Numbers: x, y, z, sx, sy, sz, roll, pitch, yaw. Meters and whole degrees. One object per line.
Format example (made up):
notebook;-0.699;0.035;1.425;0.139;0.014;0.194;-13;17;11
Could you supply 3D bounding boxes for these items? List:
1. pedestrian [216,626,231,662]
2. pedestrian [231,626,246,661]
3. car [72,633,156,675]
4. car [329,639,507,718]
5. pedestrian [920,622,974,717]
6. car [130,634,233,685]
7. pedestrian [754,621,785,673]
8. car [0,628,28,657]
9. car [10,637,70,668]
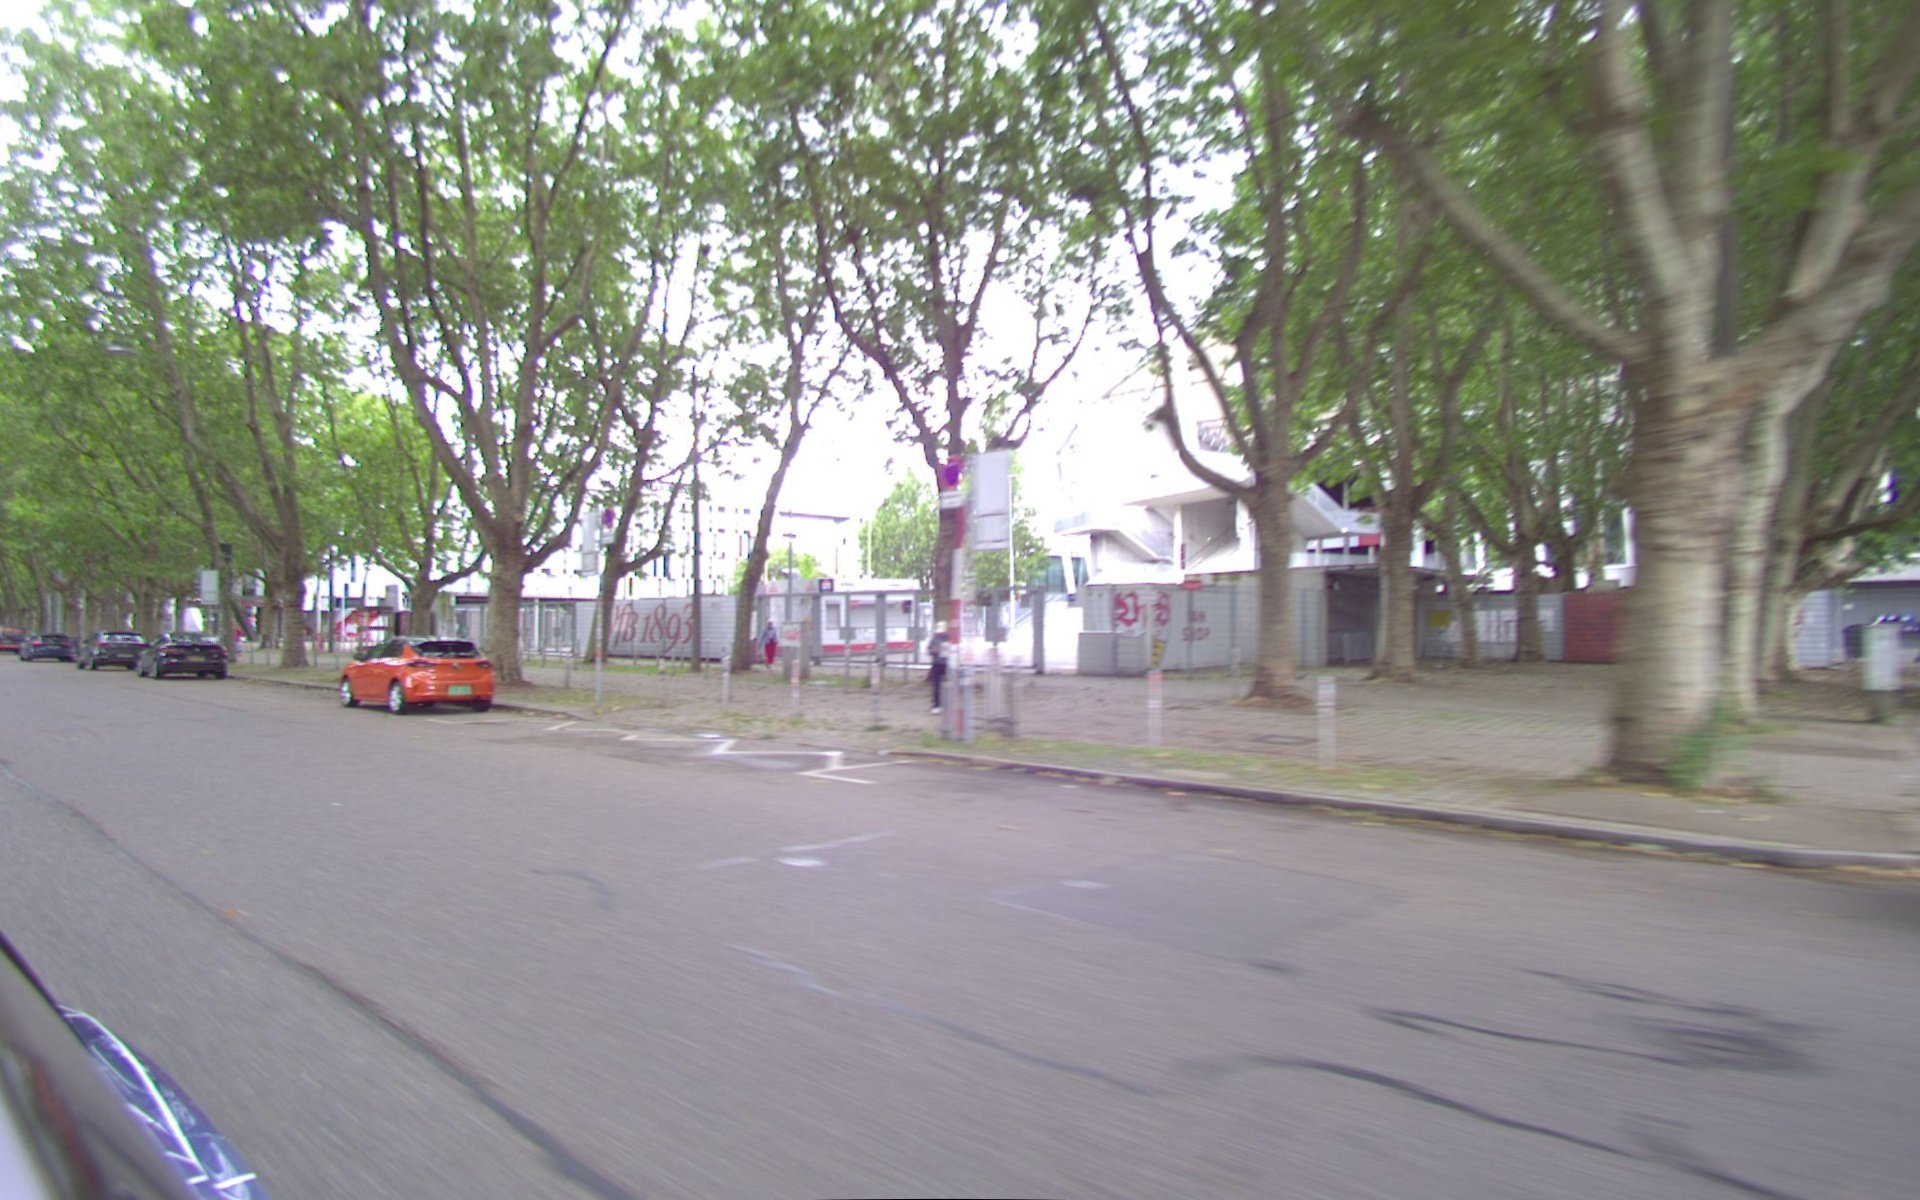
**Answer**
pedestrian;-36.979;2.199;50.801;0.569;1.783;0.769;1;-2;-34
pedestrian;-36.461;2.188;51.157;0.567;1.755;0.769;1;-2;-34
car;-32.788;2.053;39.194;4.149;1.538;1.858;-2;-4;41
car;-10.640;1.446;19.752;3.998;1.364;1.789;-2;-2;41
pedestrian;-0.235;1.208;17.852;0.585;1.632;0.793;1;-2;-40
car;-24.453;1.829;31.718;4.627;1.477;1.807;-2;-4;43
pedestrian;-5.779;1.408;30.639;0.660;1.555;0.660;-2;-2;42
car;-59.429;2.639;62.661;4.635;1.764;1.929;-2;-4;41
car;-46.073;2.609;50.633;4.572;1.497;1.706;-2;-3;41
